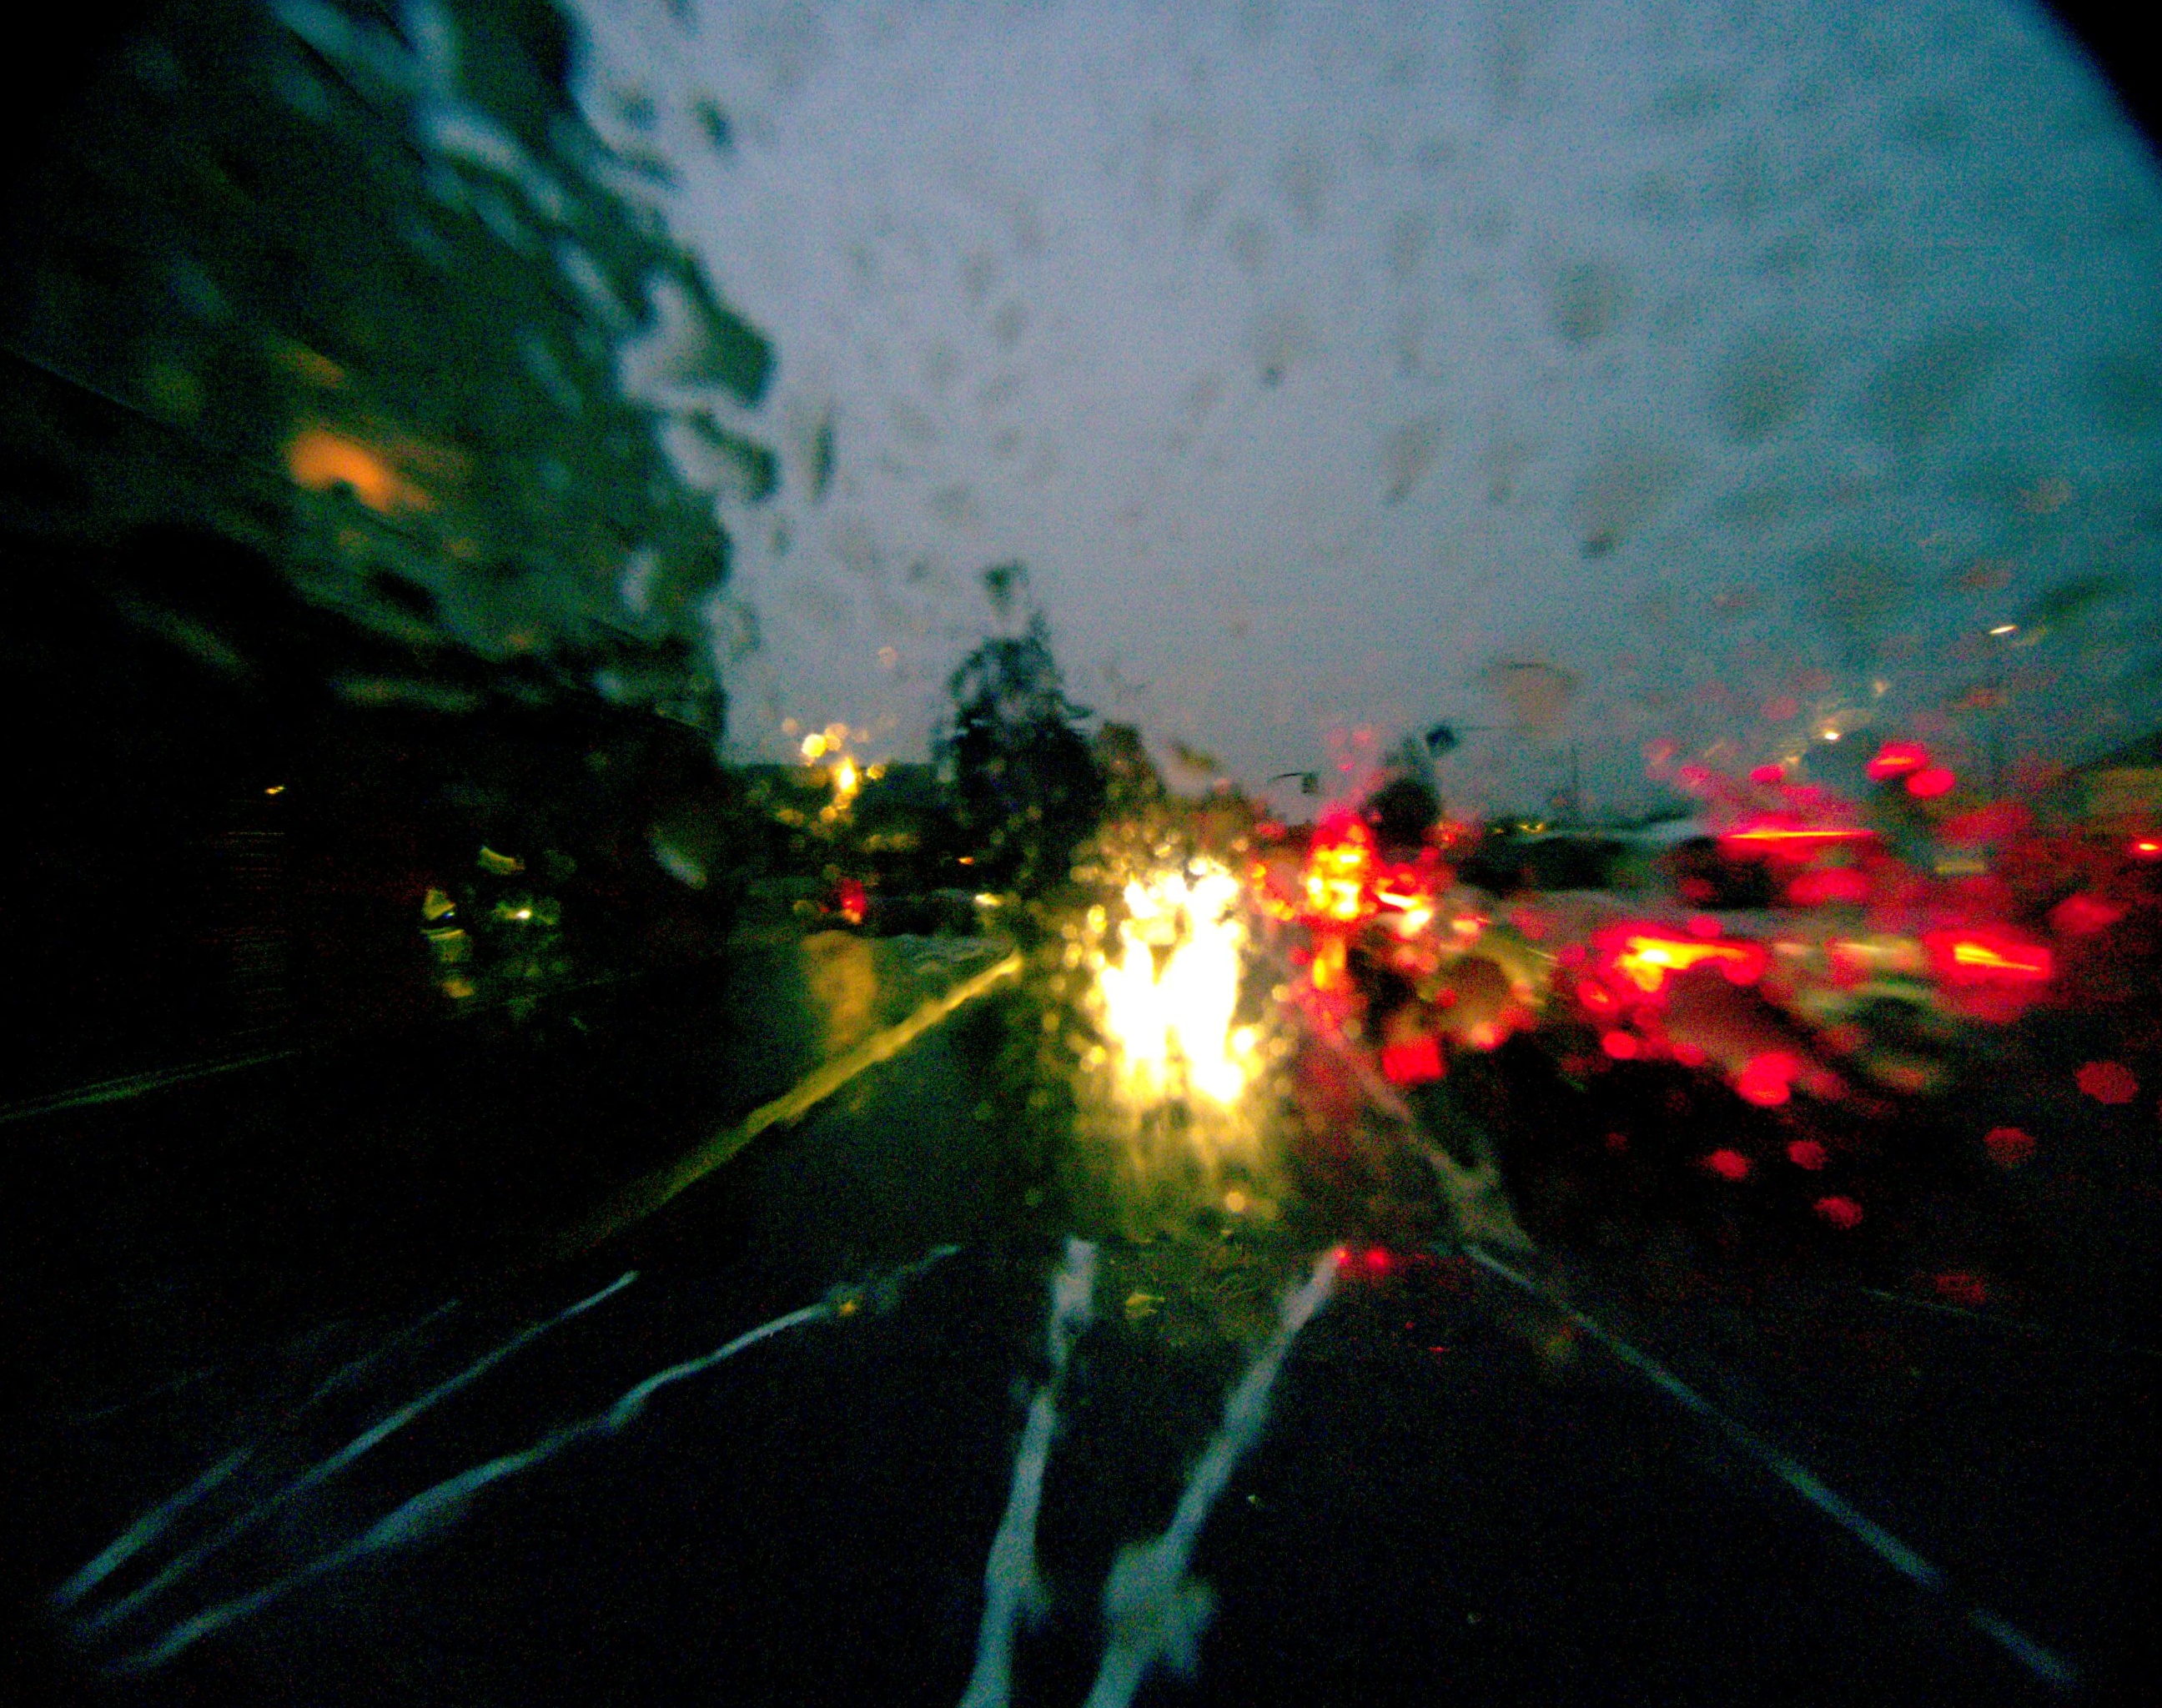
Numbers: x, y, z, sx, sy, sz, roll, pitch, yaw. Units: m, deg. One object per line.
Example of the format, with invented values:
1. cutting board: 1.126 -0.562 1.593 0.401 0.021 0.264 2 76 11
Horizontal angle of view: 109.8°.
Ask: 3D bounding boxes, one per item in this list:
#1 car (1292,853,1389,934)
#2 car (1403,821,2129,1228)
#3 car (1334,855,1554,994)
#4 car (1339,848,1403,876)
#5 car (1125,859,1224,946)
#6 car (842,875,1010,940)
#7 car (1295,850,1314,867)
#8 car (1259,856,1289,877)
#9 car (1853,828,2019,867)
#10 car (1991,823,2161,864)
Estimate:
1. car: 5.456 0.755 16.385 1.665 1.477 4.004 -2 0 15
2. car: 3.854 0.726 5.505 1.774 1.713 4.424 0 0 9
3. car: 4.613 0.793 10.319 1.774 1.486 4.046 -2 0 12
4. car: 17.073 0.475 44.703 1.995 1.464 4.008 -3 0 45
5. car: 2.229 0.983 17.072 1.774 1.632 4.425 -2 0 12
6. car: -4.205 1.437 21.033 4.181 1.432 1.798 -4 -1 1
7. car: 26.056 0.488 88.481 1.945 1.795 4.178 -2 -1 19
8. car: 14.649 0.906 57.459 1.773 1.422 3.802 -3 -1 20
9. car: 36.819 -0.264 32.945 1.687 1.528 4.784 -2 0 -1
10. car: 41.995 -0.426 31.904 1.889 1.528 4.653 -2 0 -2
